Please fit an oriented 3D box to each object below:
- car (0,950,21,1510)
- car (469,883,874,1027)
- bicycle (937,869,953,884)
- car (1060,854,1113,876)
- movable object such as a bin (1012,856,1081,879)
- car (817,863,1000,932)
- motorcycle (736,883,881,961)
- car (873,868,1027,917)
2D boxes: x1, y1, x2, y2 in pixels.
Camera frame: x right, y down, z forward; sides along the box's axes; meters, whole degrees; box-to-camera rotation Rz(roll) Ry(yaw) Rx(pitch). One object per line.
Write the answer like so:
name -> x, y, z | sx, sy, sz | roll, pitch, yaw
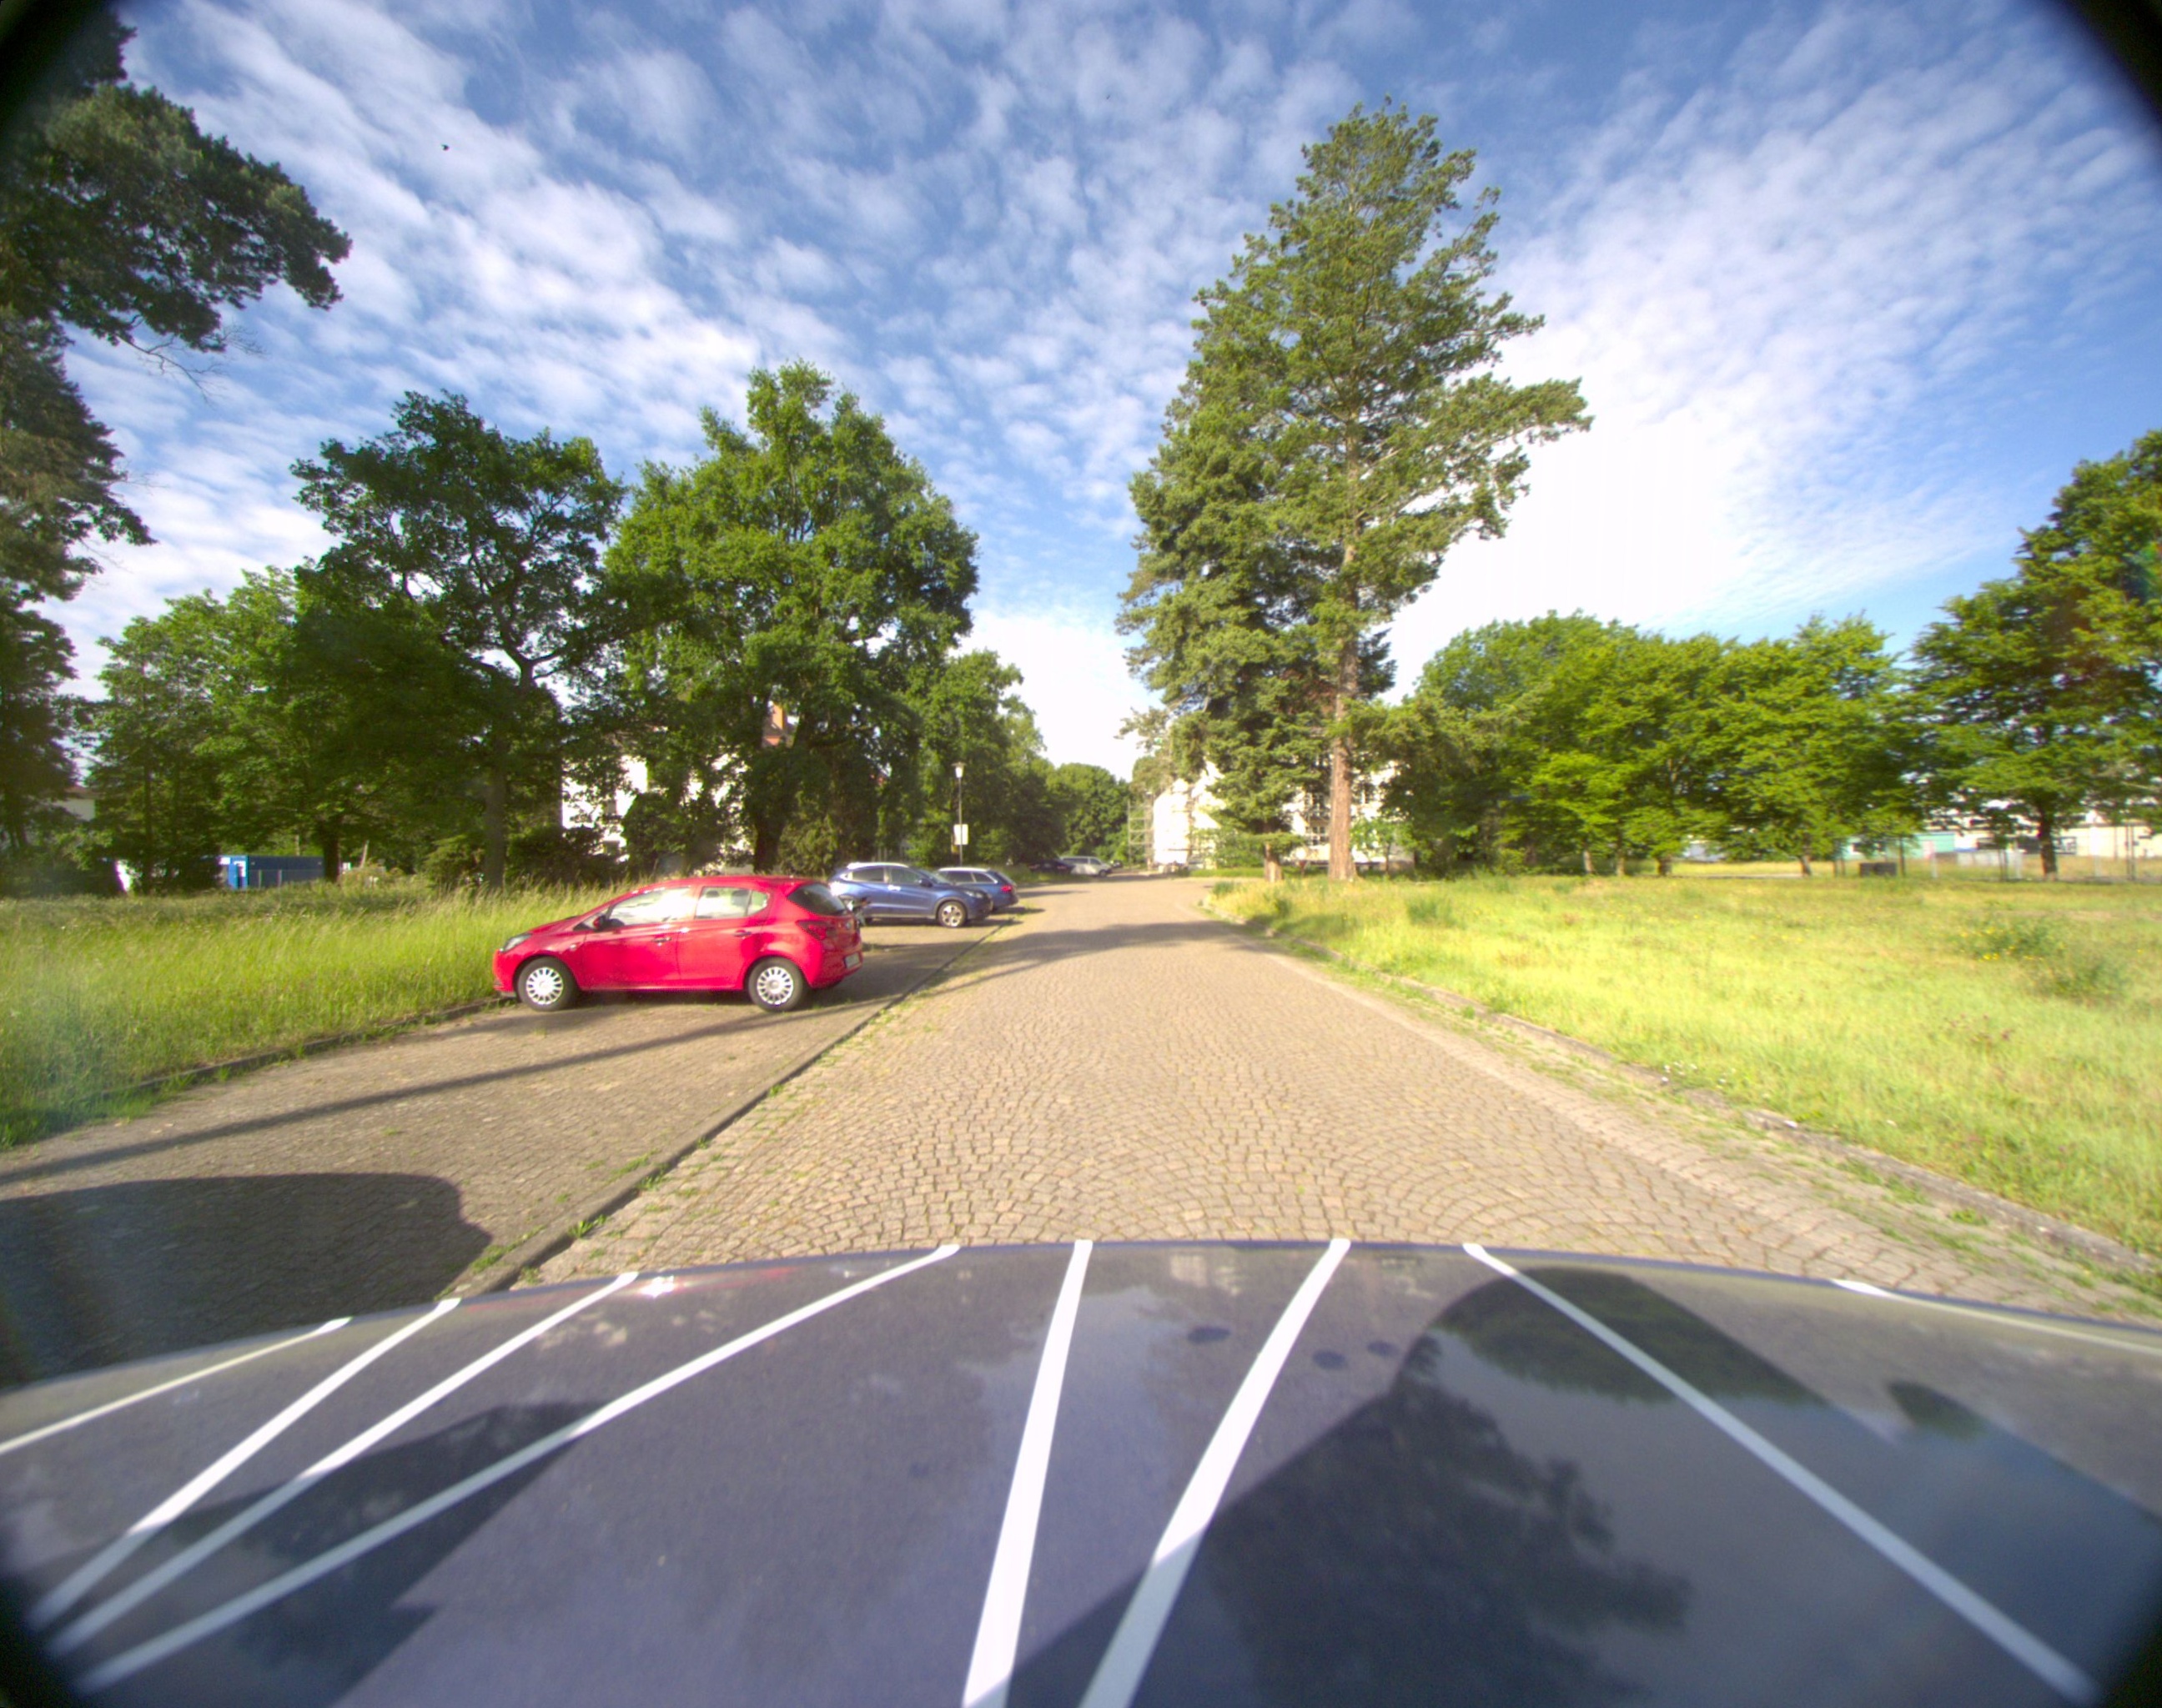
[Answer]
car -> -4.858, 1.054, 1.317 | 3.771, 1.521, 1.645 | -1, 0, 1
car -> -4.575, 1.104, 8.903 | 3.837, 1.470, 1.645 | 0, 0, 0
bicycle -> -9.387, 1.552, 52.561 | 0.710, 1.010, 1.257 | -1, 0, 8
car -> 0.564, 1.033, 72.588 | 4.936, 2.002, 2.000 | -1, 0, 1
movable object such as a bin -> -2.700, 1.053, 59.743 | 4.931, 1.749, 2.002 | -1, 0, 16
car -> -4.246, 1.064, 19.197 | 4.187, 1.581, 1.751 | -1, 0, 0
motorcycle -> -4.787, 1.190, 13.456 | 2.305, 1.312, 0.726 | 0, 0, 0
car -> -4.046, 1.182, 23.891 | 4.459, 1.399, 1.714 | 0, 0, 4
